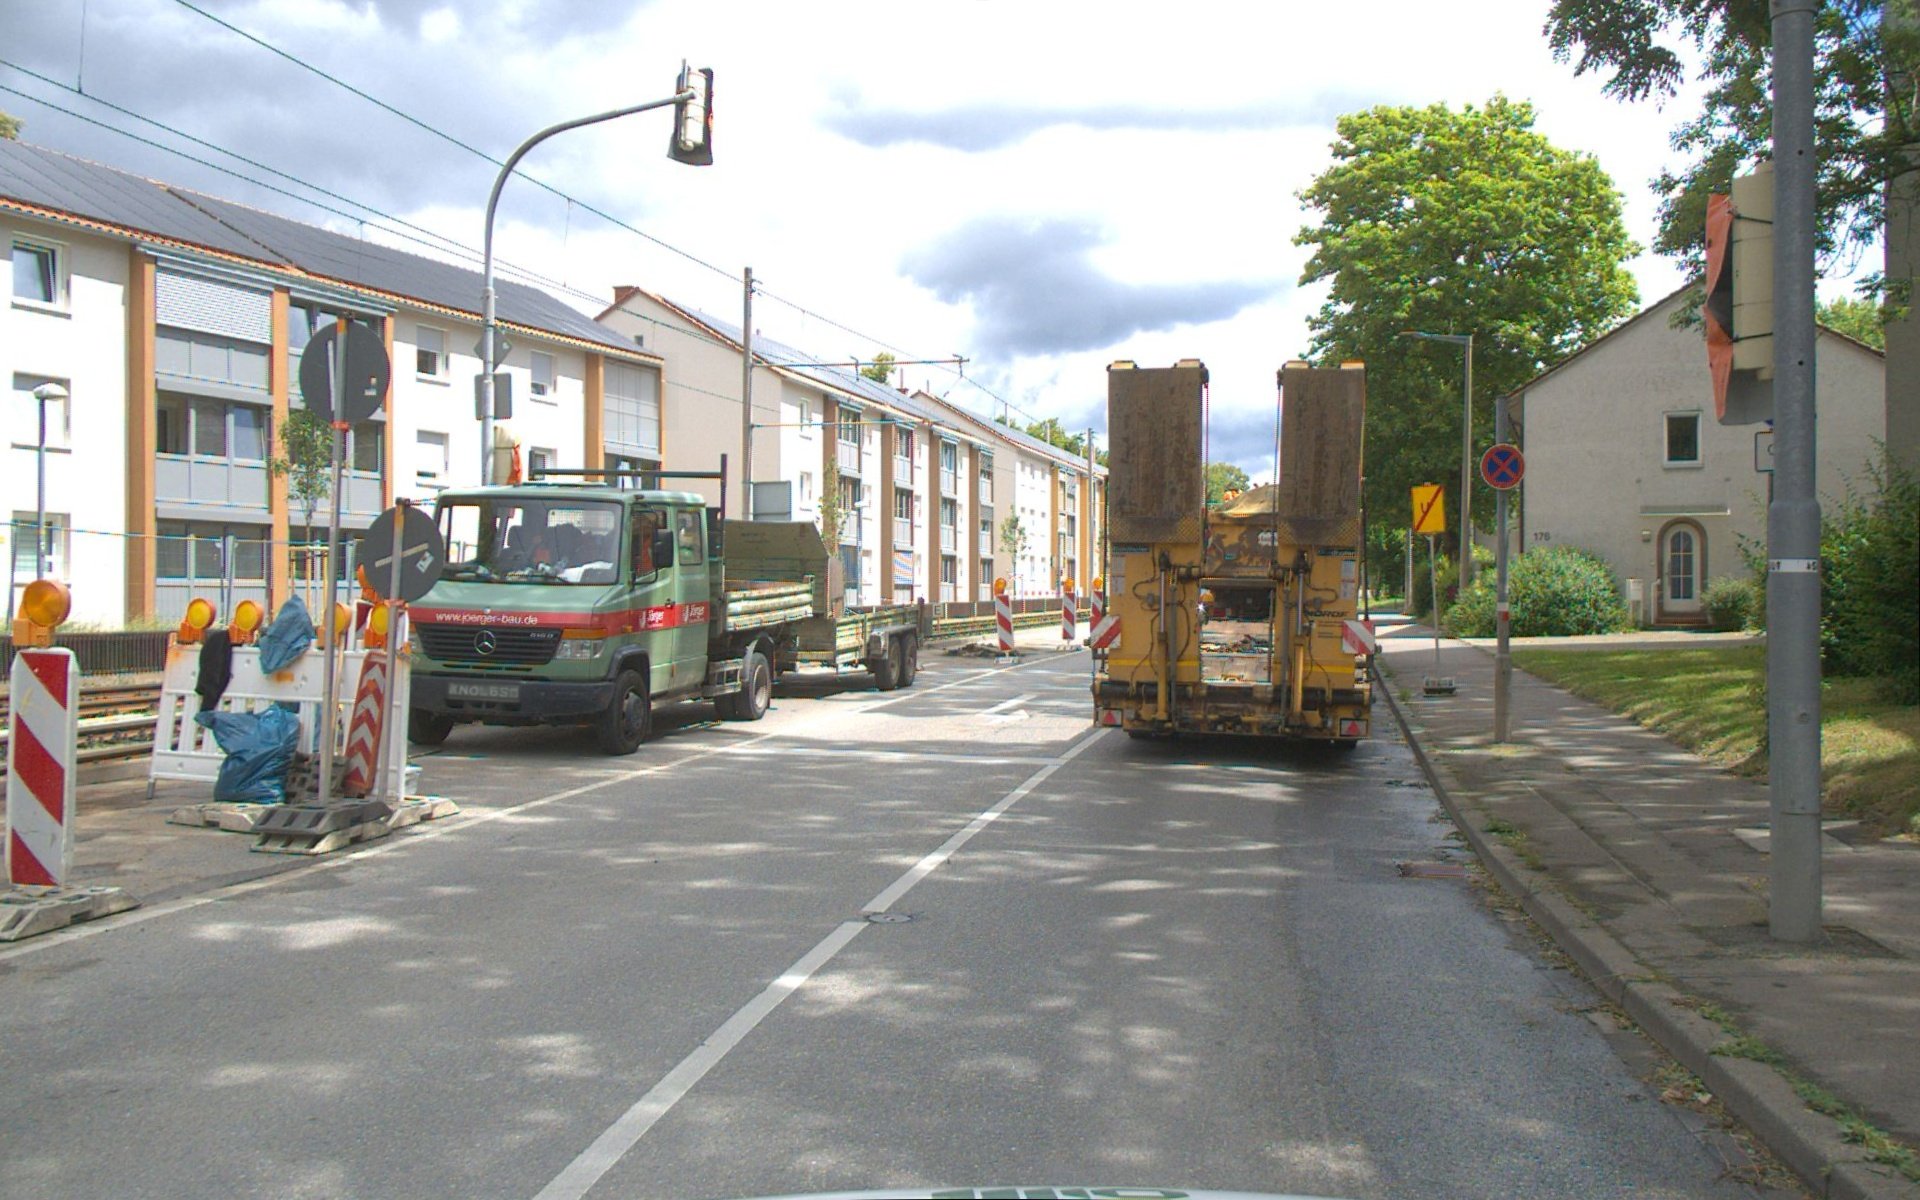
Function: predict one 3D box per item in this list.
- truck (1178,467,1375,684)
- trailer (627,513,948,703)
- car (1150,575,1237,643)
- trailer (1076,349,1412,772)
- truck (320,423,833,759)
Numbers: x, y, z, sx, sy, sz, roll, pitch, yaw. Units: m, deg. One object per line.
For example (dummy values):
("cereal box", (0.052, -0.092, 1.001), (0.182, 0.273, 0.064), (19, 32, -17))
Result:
("truck", (5.681, -0.413, 28.952), (2.855, 3.222, 7.686), (2, 1, 13))
("trailer", (-2.161, 0.065, 23.259), (2.605, 2.252, 6.253), (1, 1, 12))
("car", (6.019, 0.229, 42.321), (1.803, 1.646, 4.245), (0, 0, 13))
("trailer", (3.576, -0.447, 19.804), (2.763, 3.585, 11.062), (2, 1, 12))
("truck", (-3.523, -0.128, 17.075), (2.605, 2.772, 6.401), (1, 1, 12))
